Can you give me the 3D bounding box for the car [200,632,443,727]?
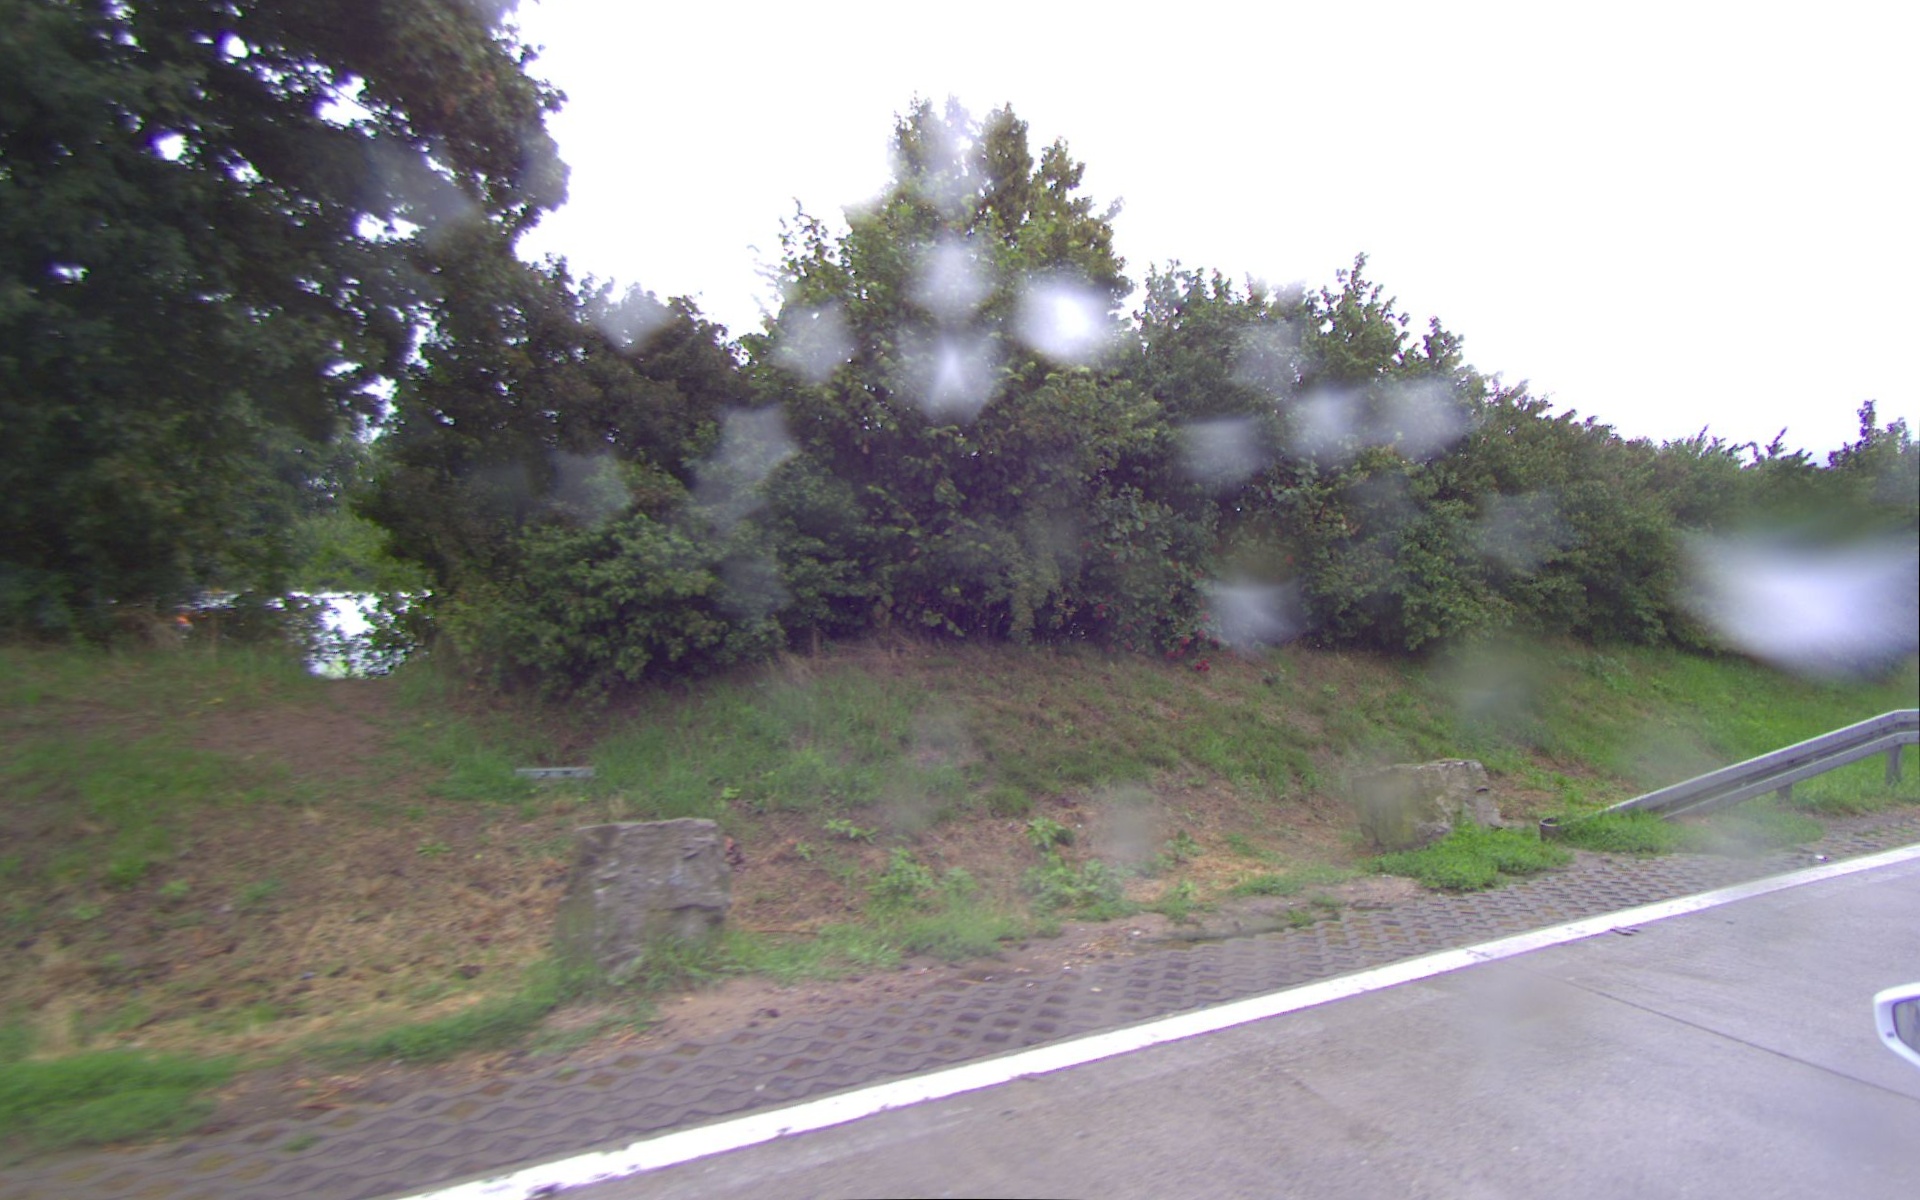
[{"bbox_3d":[-12.761,1.547,20.352,3.953,1.761,1.826,2,-3,-30],"label":"car"}]
